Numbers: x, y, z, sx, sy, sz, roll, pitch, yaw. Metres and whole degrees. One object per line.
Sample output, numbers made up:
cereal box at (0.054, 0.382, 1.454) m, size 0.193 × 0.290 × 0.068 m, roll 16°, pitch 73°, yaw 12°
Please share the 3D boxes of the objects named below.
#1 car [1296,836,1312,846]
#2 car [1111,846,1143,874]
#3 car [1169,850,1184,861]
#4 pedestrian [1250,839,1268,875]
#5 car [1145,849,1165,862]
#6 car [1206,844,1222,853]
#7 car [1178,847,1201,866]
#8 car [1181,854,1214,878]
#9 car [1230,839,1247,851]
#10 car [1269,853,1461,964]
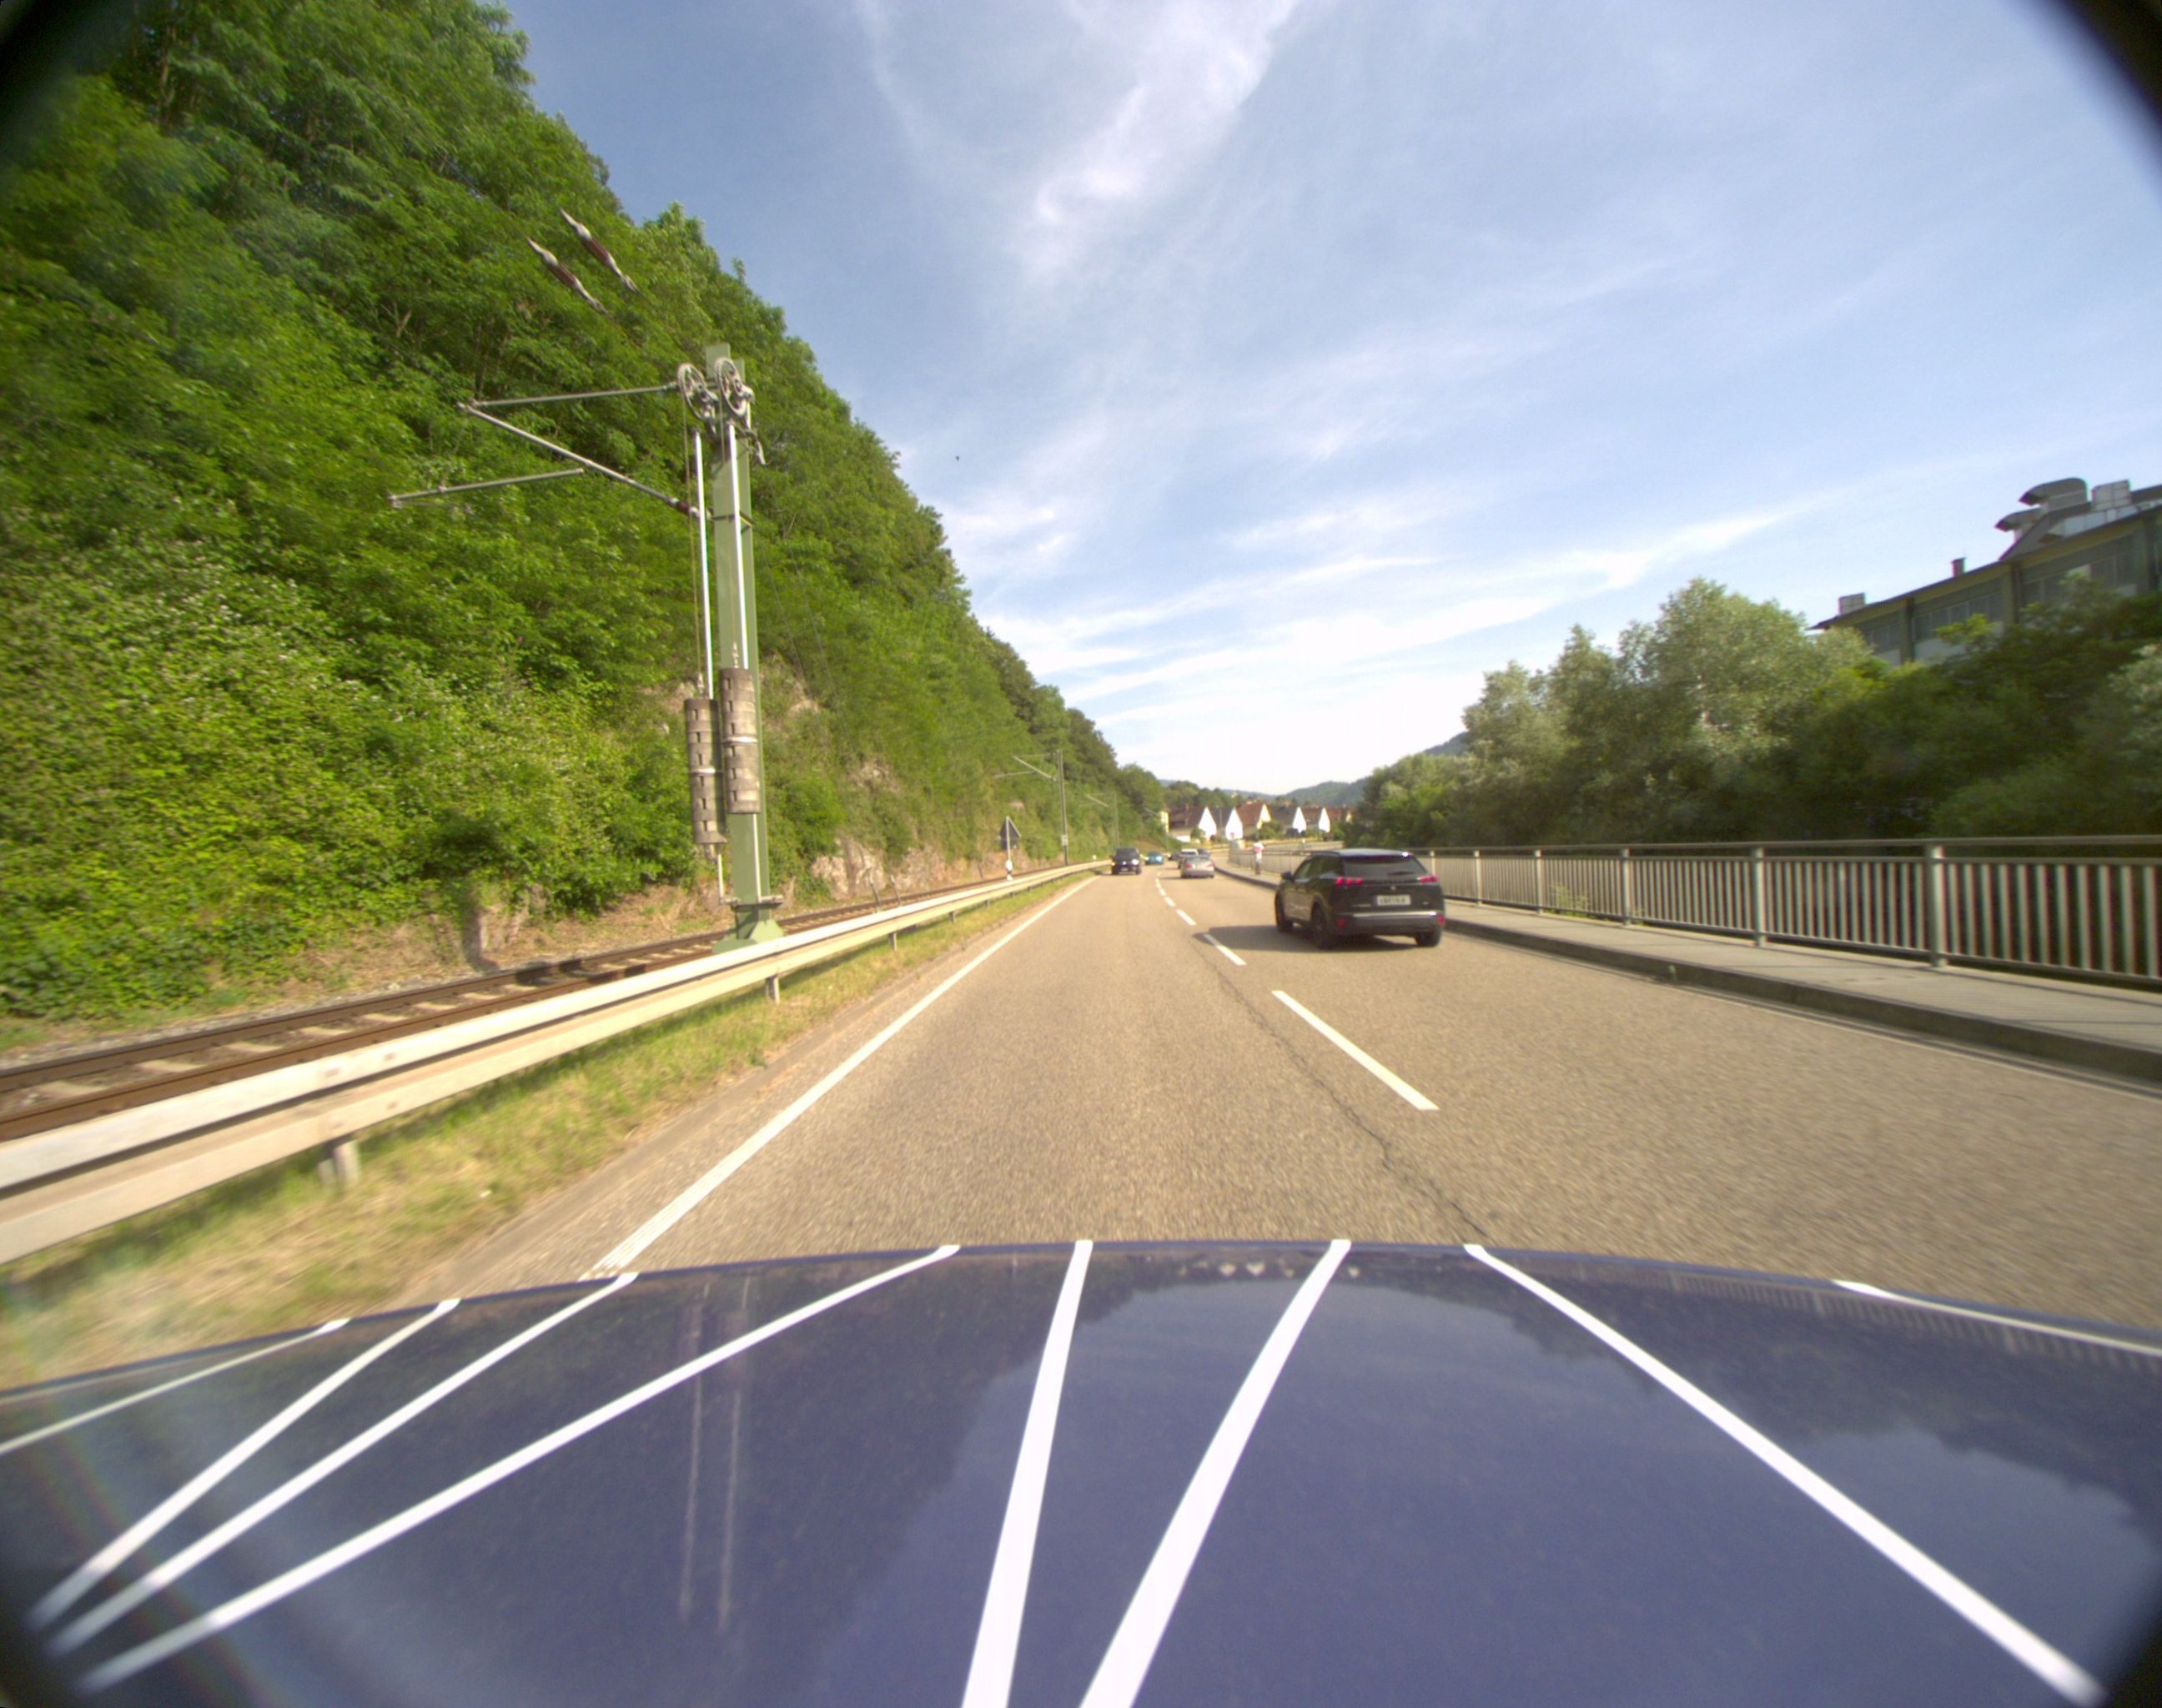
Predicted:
car at (47.429, -2.738, 161.430) m, size 1.994 × 1.849 × 4.007 m, roll -2°, pitch 1°, yaw 36°
car at (3.255, 0.407, 53.056) m, size 1.908 × 1.868 × 4.350 m, roll -1°, pitch 0°, yaw 7°
car at (12.770, 0.177, 101.405) m, size 1.650 × 1.424 × 3.335 m, roll 0°, pitch 0°, yaw 14°
pedestrian at (9.037, 0.144, 38.597) m, size 0.719 × 1.808 × 0.877 m, roll -2°, pitch 1°, yaw 6°
car at (7.906, 0.153, 81.114) m, size 1.749 × 1.424 × 3.334 m, roll 0°, pitch 0°, yaw 11°
car at (24.552, -1.035, 140.166) m, size 1.995 × 1.671 × 4.007 m, roll 0°, pitch 0°, yaw 26°
car at (9.167, 0.224, 64.598) m, size 1.725 × 1.575 × 3.501 m, roll 0°, pitch 0°, yaw 5°
car at (6.620, 0.643, 43.411) m, size 1.588 × 1.302 × 3.501 m, roll 0°, pitch 0°, yaw 4°
car at (26.884, -1.591, 129.429) m, size 1.995 × 1.849 × 4.006 m, roll -2°, pitch 1°, yaw 23°
car at (4.420, 0.758, 12.499) m, size 1.794 × 1.471 × 3.861 m, roll -2°, pitch 0°, yaw 2°
